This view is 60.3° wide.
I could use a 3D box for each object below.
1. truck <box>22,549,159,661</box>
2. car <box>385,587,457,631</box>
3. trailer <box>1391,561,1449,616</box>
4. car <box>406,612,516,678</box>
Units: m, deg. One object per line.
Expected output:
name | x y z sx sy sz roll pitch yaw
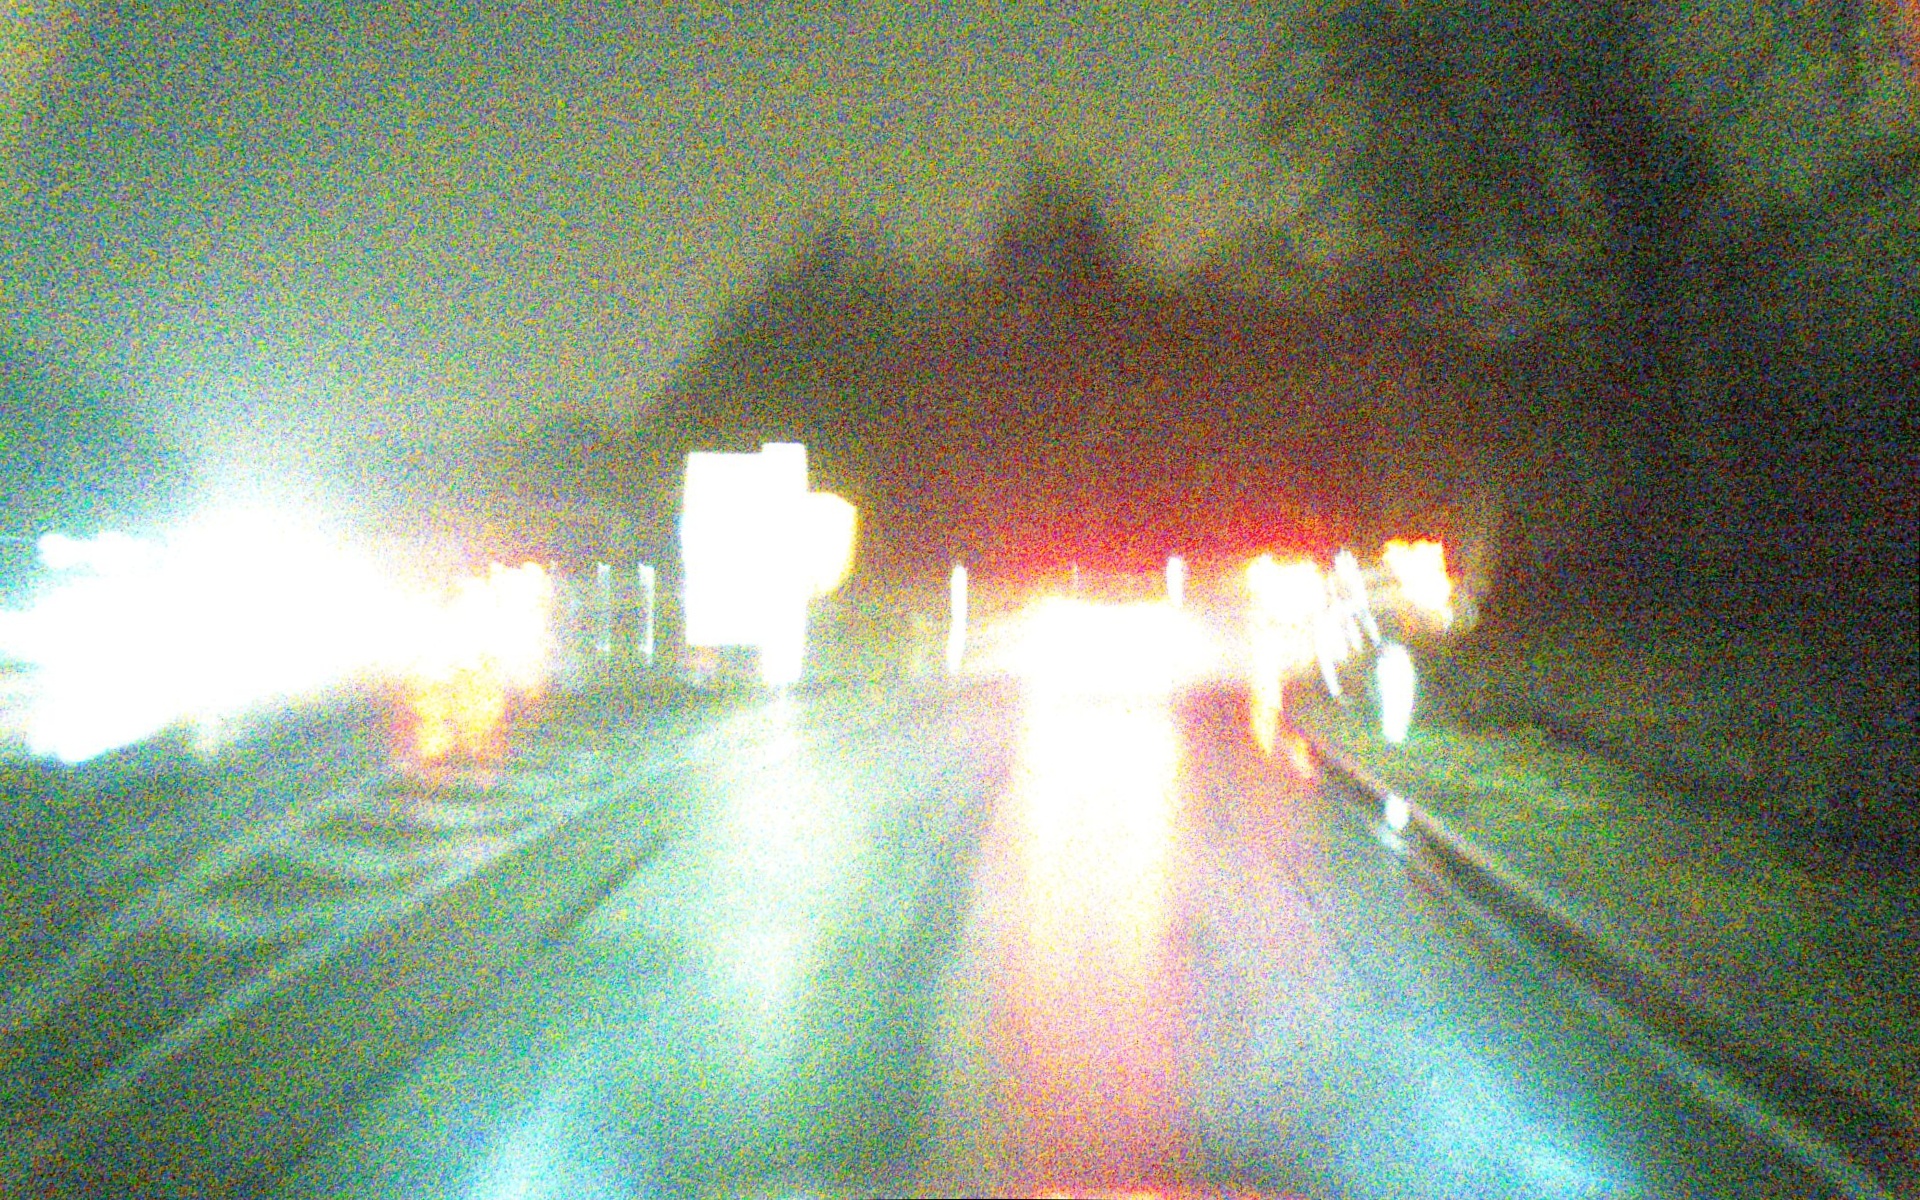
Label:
truck | -33.389 0.170 63.833 3.345 4.043 7.422 -1 0 -17
car | -19.876 0.335 61.153 1.735 1.543 4.904 -1 0 -9
trailer | 19.198 -0.402 68.700 2.034 2.049 10.653 -1 -1 17
car | -11.186 0.983 37.302 1.927 1.405 4.039 0 -1 -10
